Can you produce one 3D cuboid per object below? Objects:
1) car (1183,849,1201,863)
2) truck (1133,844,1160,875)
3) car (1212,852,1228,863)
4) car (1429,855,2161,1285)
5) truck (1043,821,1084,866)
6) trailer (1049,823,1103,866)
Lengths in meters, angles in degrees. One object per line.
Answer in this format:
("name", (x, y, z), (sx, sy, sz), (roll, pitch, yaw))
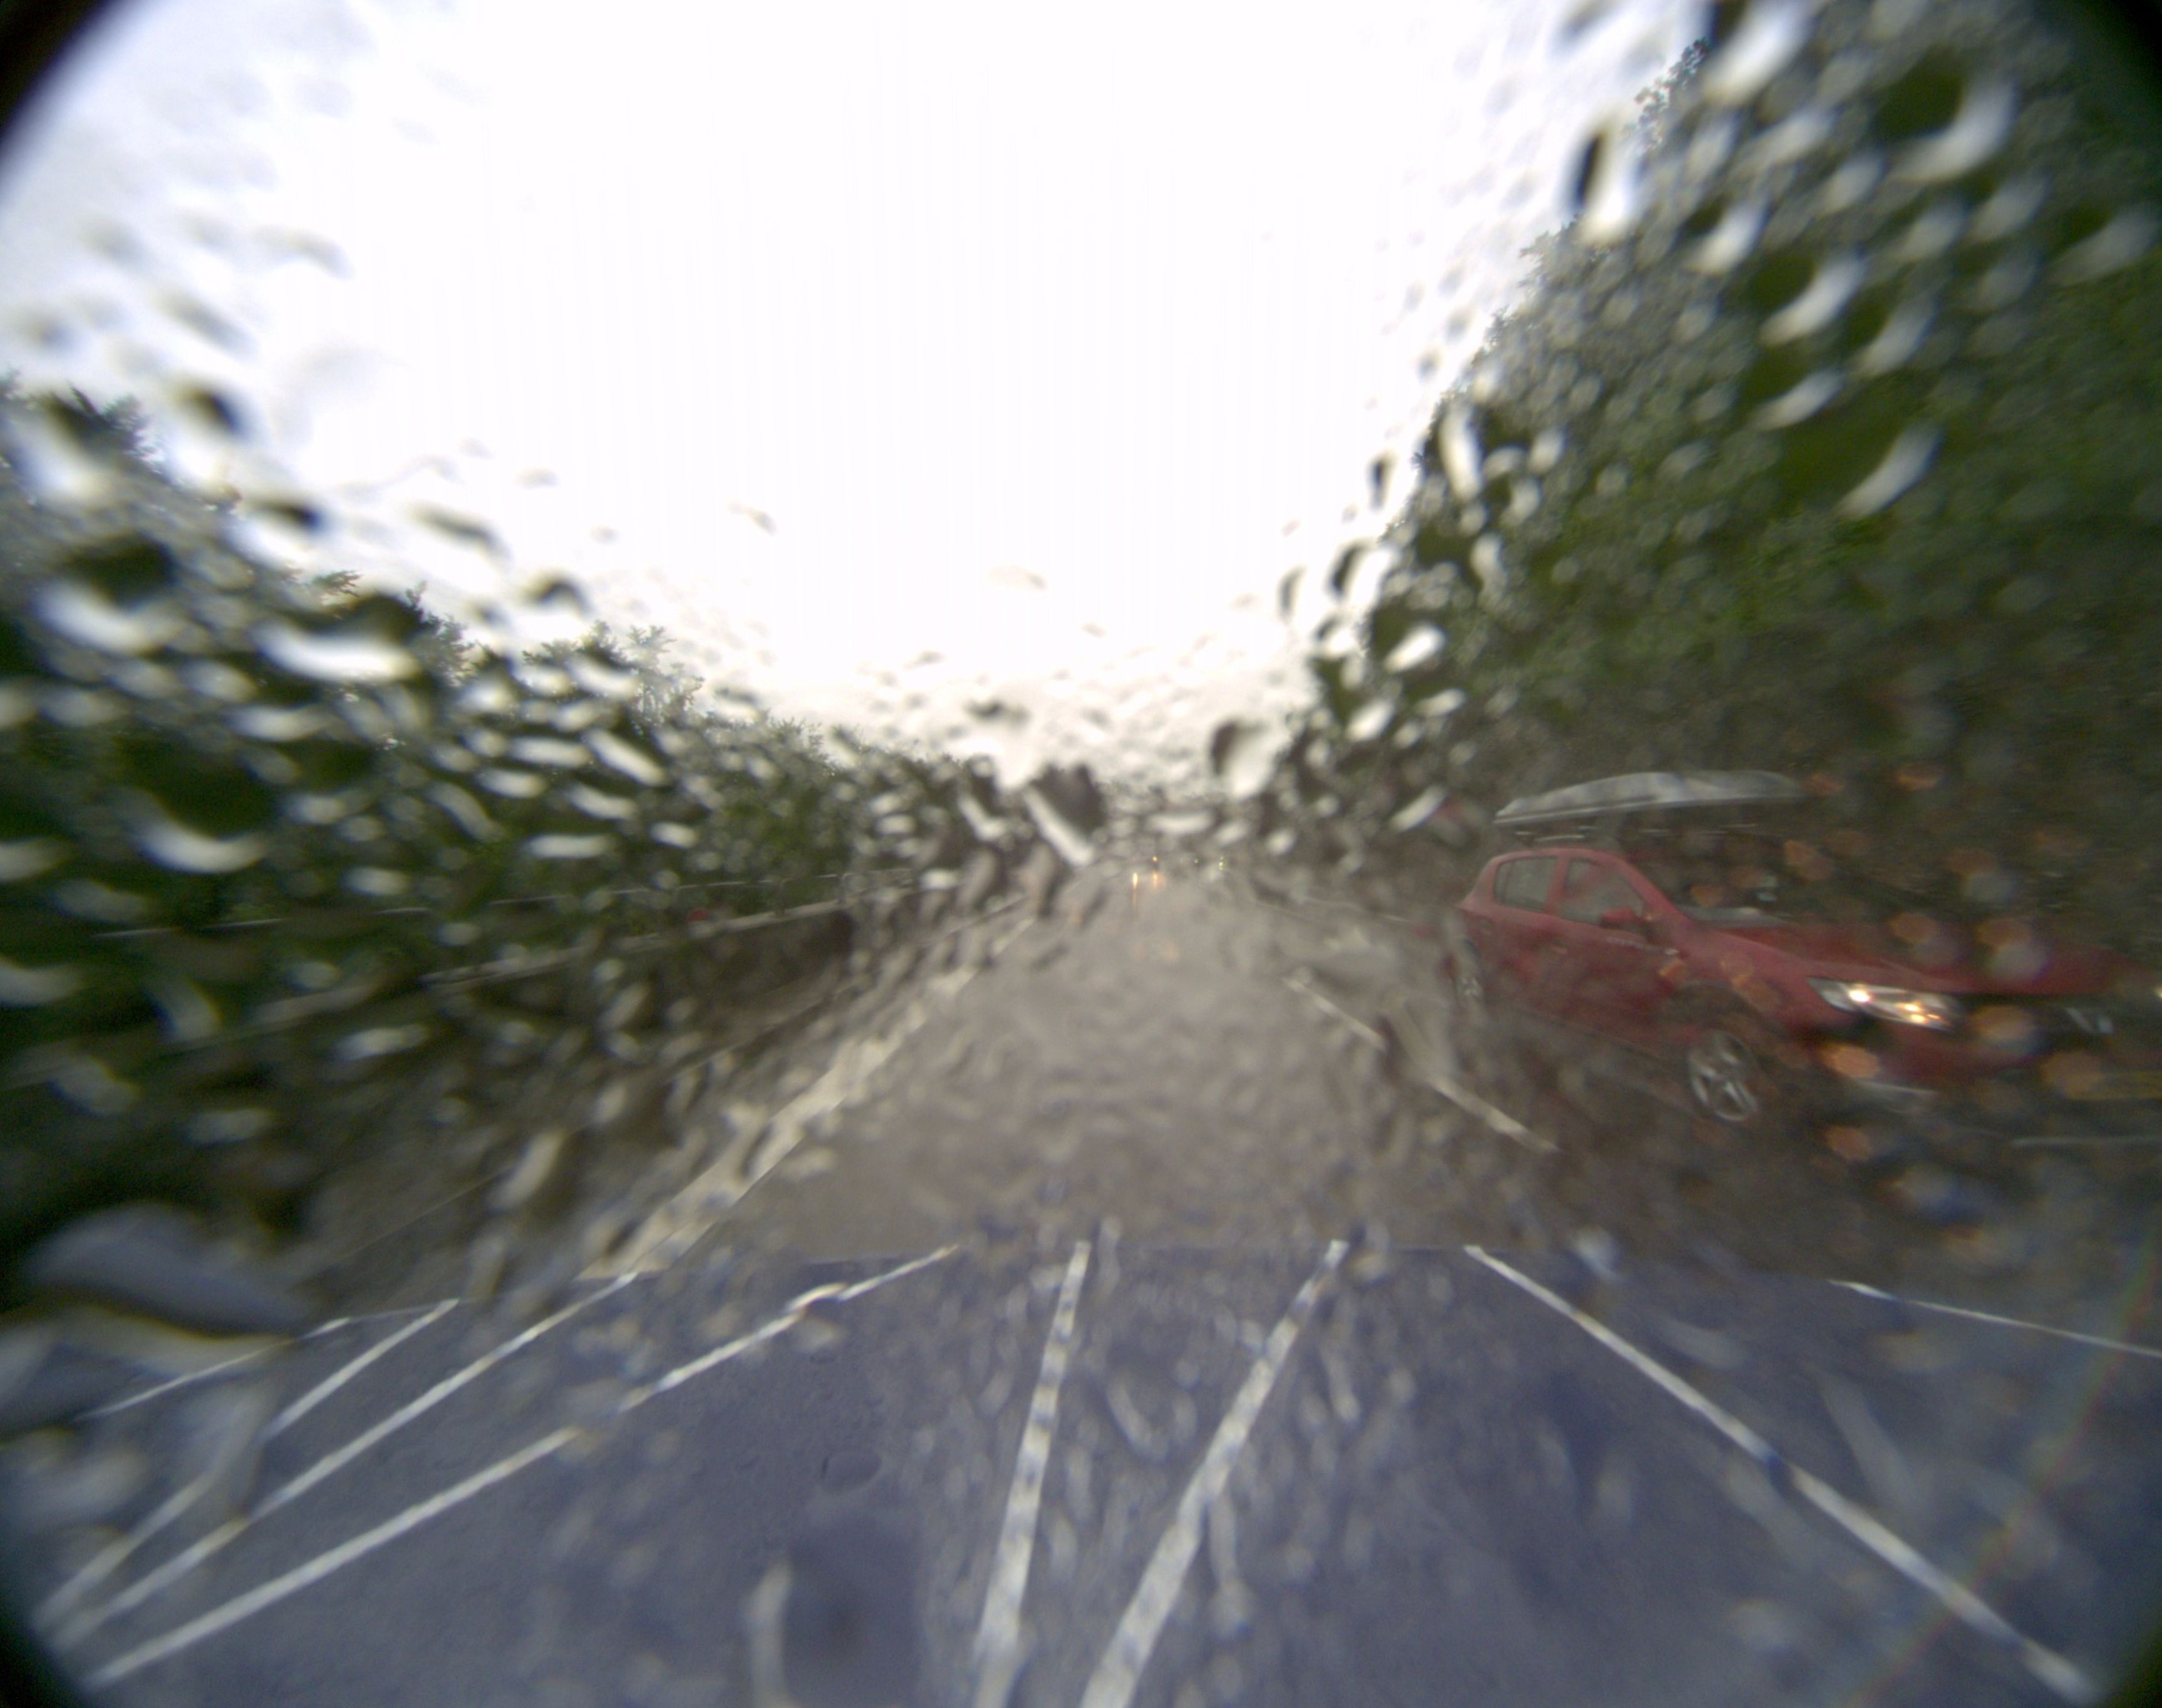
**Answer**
("car", (11.815, 0.173, 80.858), (1.826, 1.375, 4.002), (-1, 0, 9))
("truck", (5.701, 0.483, 65.517), (2.107, 2.481, 8.007), (1, 0, 6))
("car", (19.594, 0.448, 107.193), (1.825, 1.375, 4.004), (-3, 1, 16))
("car", (4.108, 0.801, 4.801), (1.998, 1.543, 4.000), (-1, 0, 0))
("truck", (-1.660, -1.006, 75.903), (2.809, 4.280, 6.470), (-1, 1, 10))
("trailer", (-0.314, -1.038, 82.889), (2.939, 4.280, 14.248), (-1, 0, 11))
